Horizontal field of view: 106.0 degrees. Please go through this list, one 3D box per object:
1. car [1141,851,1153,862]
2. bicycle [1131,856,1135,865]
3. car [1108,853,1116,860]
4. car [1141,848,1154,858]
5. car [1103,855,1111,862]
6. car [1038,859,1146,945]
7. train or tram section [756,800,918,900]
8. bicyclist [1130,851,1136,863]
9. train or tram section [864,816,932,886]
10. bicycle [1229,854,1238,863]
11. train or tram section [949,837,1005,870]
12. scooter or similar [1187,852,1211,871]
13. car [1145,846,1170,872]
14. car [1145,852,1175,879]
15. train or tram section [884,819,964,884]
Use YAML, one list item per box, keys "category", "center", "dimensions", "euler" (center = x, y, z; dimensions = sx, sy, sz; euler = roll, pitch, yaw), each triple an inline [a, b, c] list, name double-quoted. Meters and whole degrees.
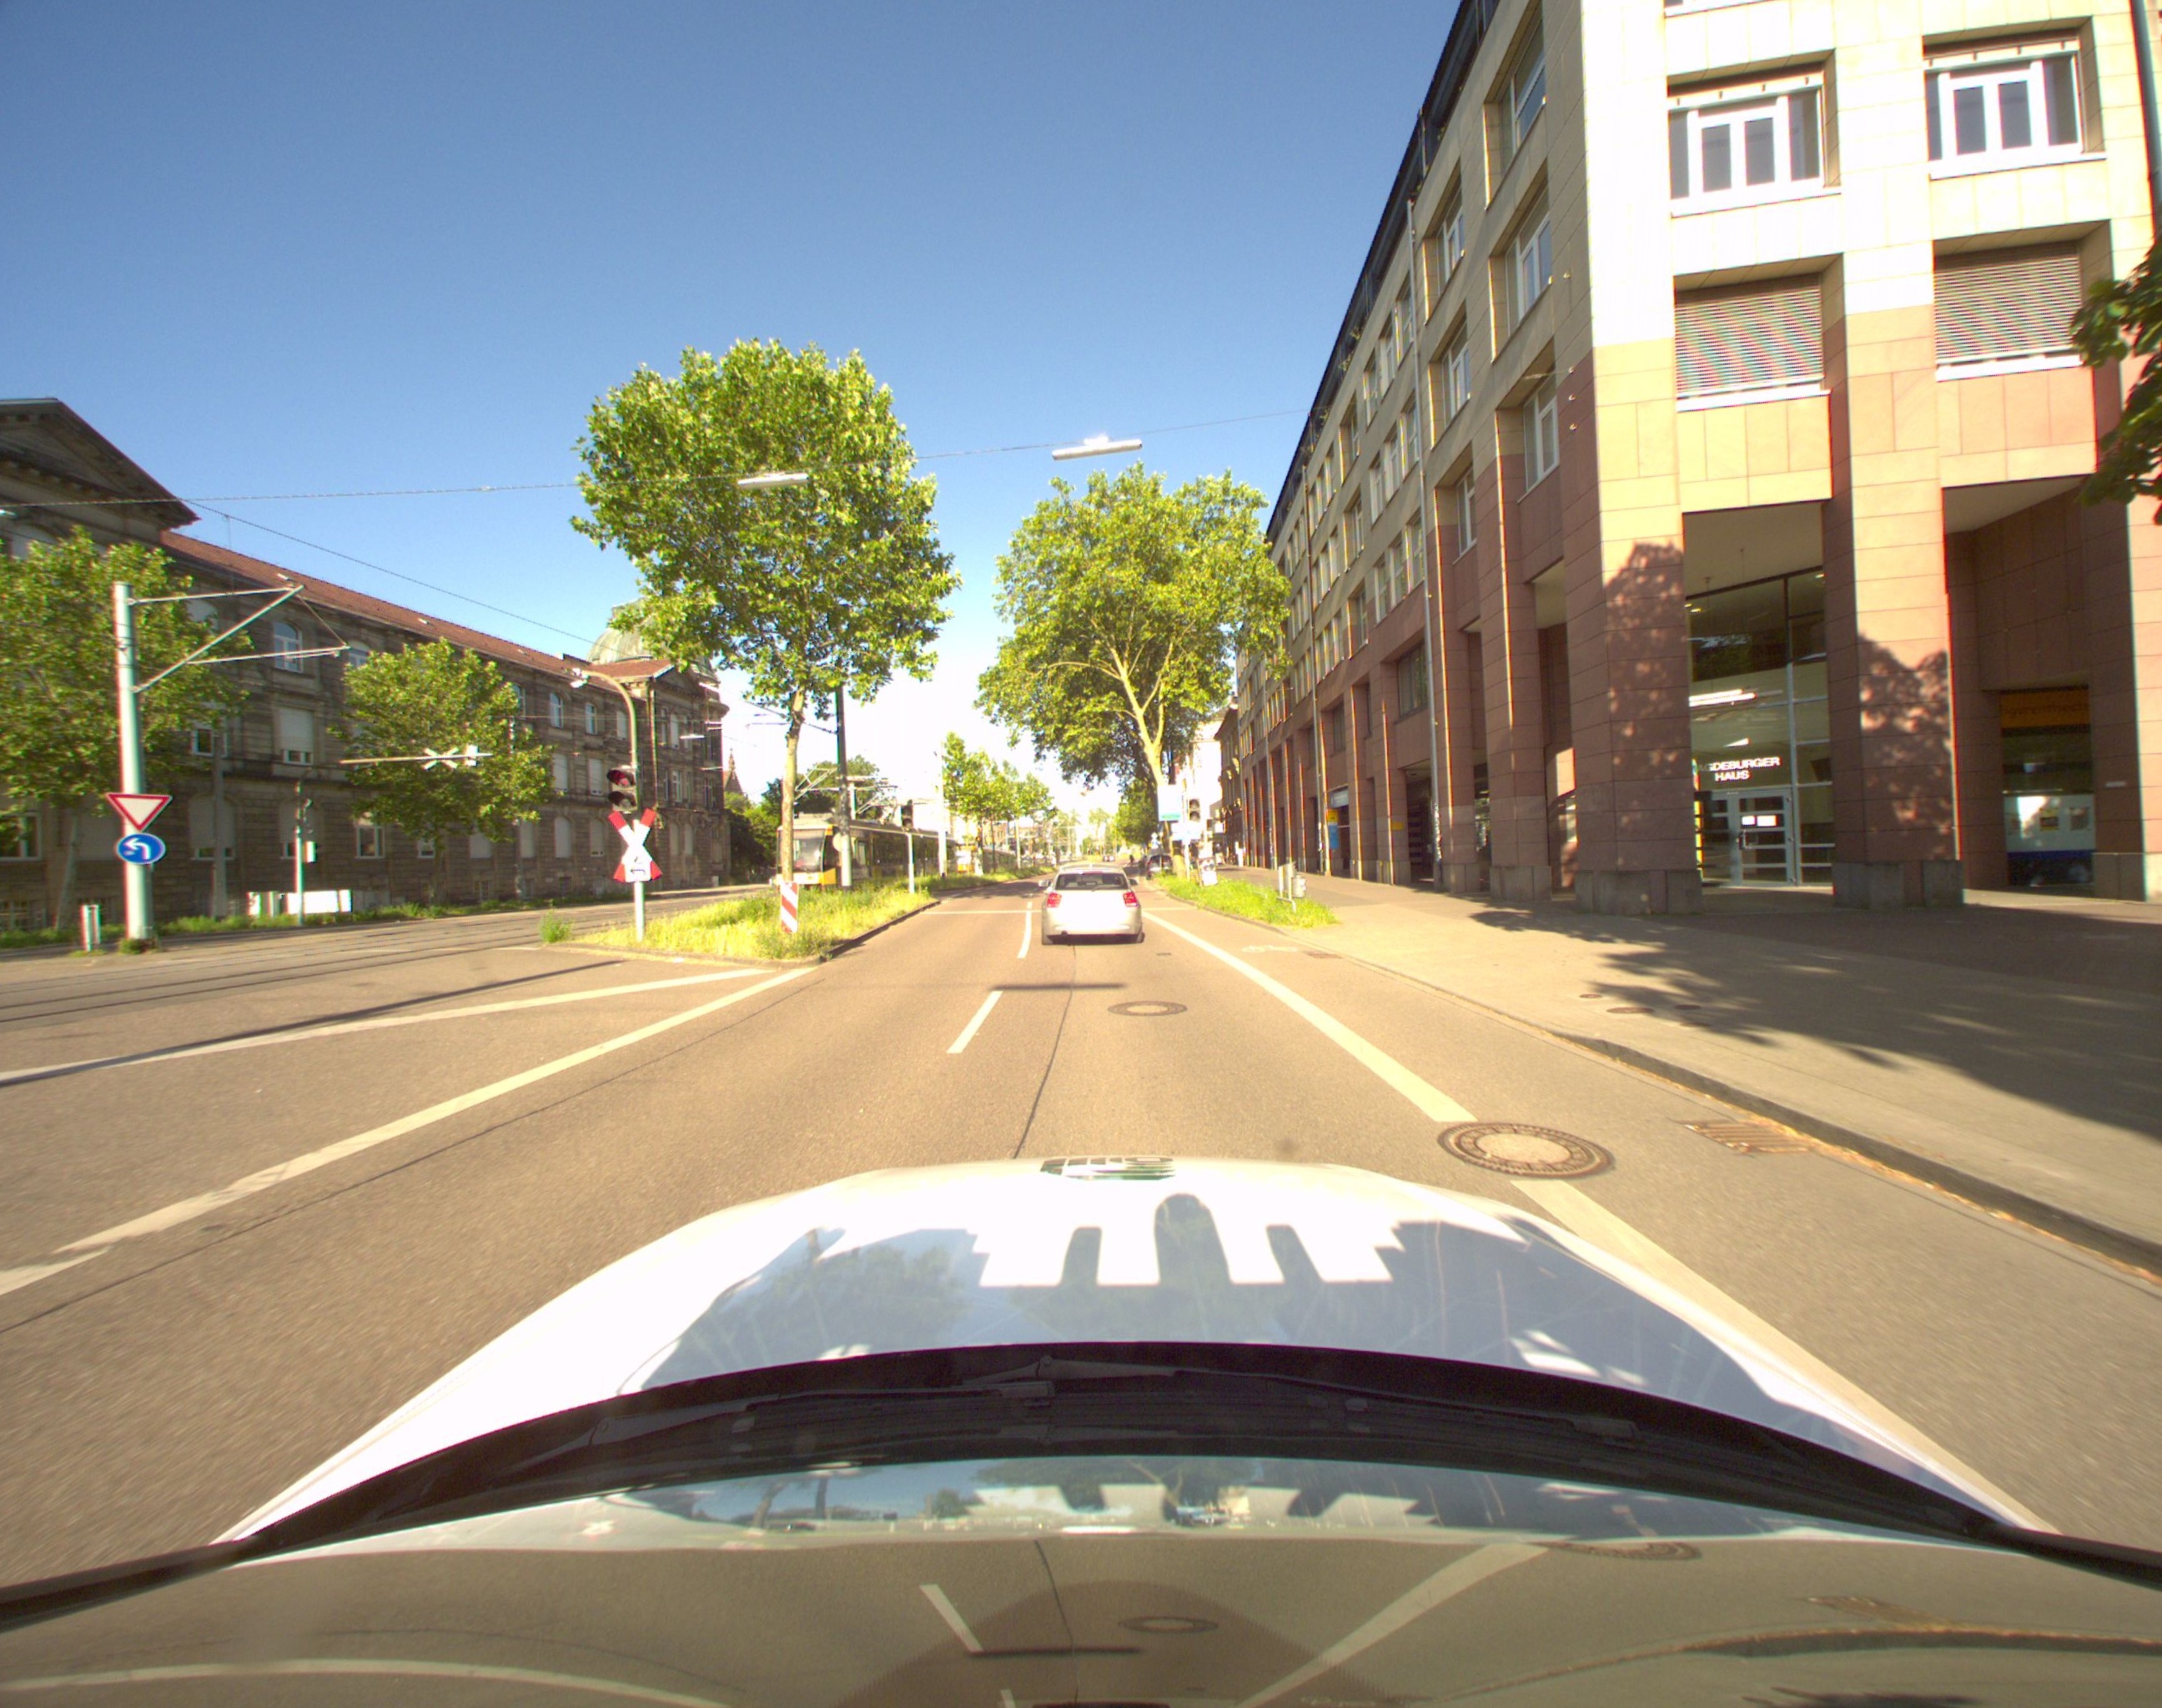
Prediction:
- category: "car"
  center: [10.113, 0.372, 124.567]
  dimensions: [1.687, 1.502, 3.805]
  euler: [-5, 0, 4]
- category: "bicycle"
  center: [6.895, 0.849, 107.610]
  dimensions: [0.497, 1.088, 1.999]
  euler: [-1, 0, 4]
- category: "car"
  center: [7.261, 0.611, 188.752]
  dimensions: [1.637, 1.421, 4.004]
  euler: [-1, 0, 4]
- category: "car"
  center: [10.712, -0.178, 132.145]
  dimensions: [2.029, 1.509, 4.598]
  euler: [-2, 0, 4]
- category: "car"
  center: [5.672, 0.900, 180.727]
  dimensions: [1.720, 1.470, 4.412]
  euler: [-2, 0, 1]
- category: "car"
  center: [0.234, 0.813, 15.608]
  dimensions: [1.791, 1.415, 4.001]
  euler: [-1, 0, 1]
- category: "train or tram section"
  center: [-10.780, -0.152, 38.388]
  dimensions: [2.917, 3.812, 14.278]
  euler: [-1, 0, 2]
- category: "bicyclist"
  center: [6.872, 0.392, 107.709]
  dimensions: [0.781, 1.531, 0.896]
  euler: [-1, 0, 4]
- category: "train or tram section"
  center: [-10.576, -0.155, 47.457]
  dimensions: [2.944, 3.897, 3.867]
  euler: [-1, 0, 1]
- category: "bicycle"
  center: [13.853, 0.402, 74.119]
  dimensions: [0.546, 0.773, 1.664]
  euler: [-4, 0, 4]
- category: "train or tram section"
  center: [-11.845, -0.101, 95.902]
  dimensions: [2.952, 3.483, 21.230]
  euler: [-1, 0, 2]
- category: "scooter or similar"
  center: [8.306, 0.535, 57.336]
  dimensions: [1.533, 1.237, 0.449]
  euler: [-3, 0, 4]
- category: "car"
  center: [6.155, 0.413, 65.925]
  dimensions: [1.848, 2.014, 4.729]
  euler: [-1, 0, 4]
- category: "car"
  center: [4.769, 0.658, 49.264]
  dimensions: [1.660, 1.570, 4.286]
  euler: [-1, 0, 5]
- category: "train or tram section"
  center: [-10.307, -0.139, 54.798]
  dimensions: [2.941, 3.897, 10.807]
  euler: [-1, 0, 2]
